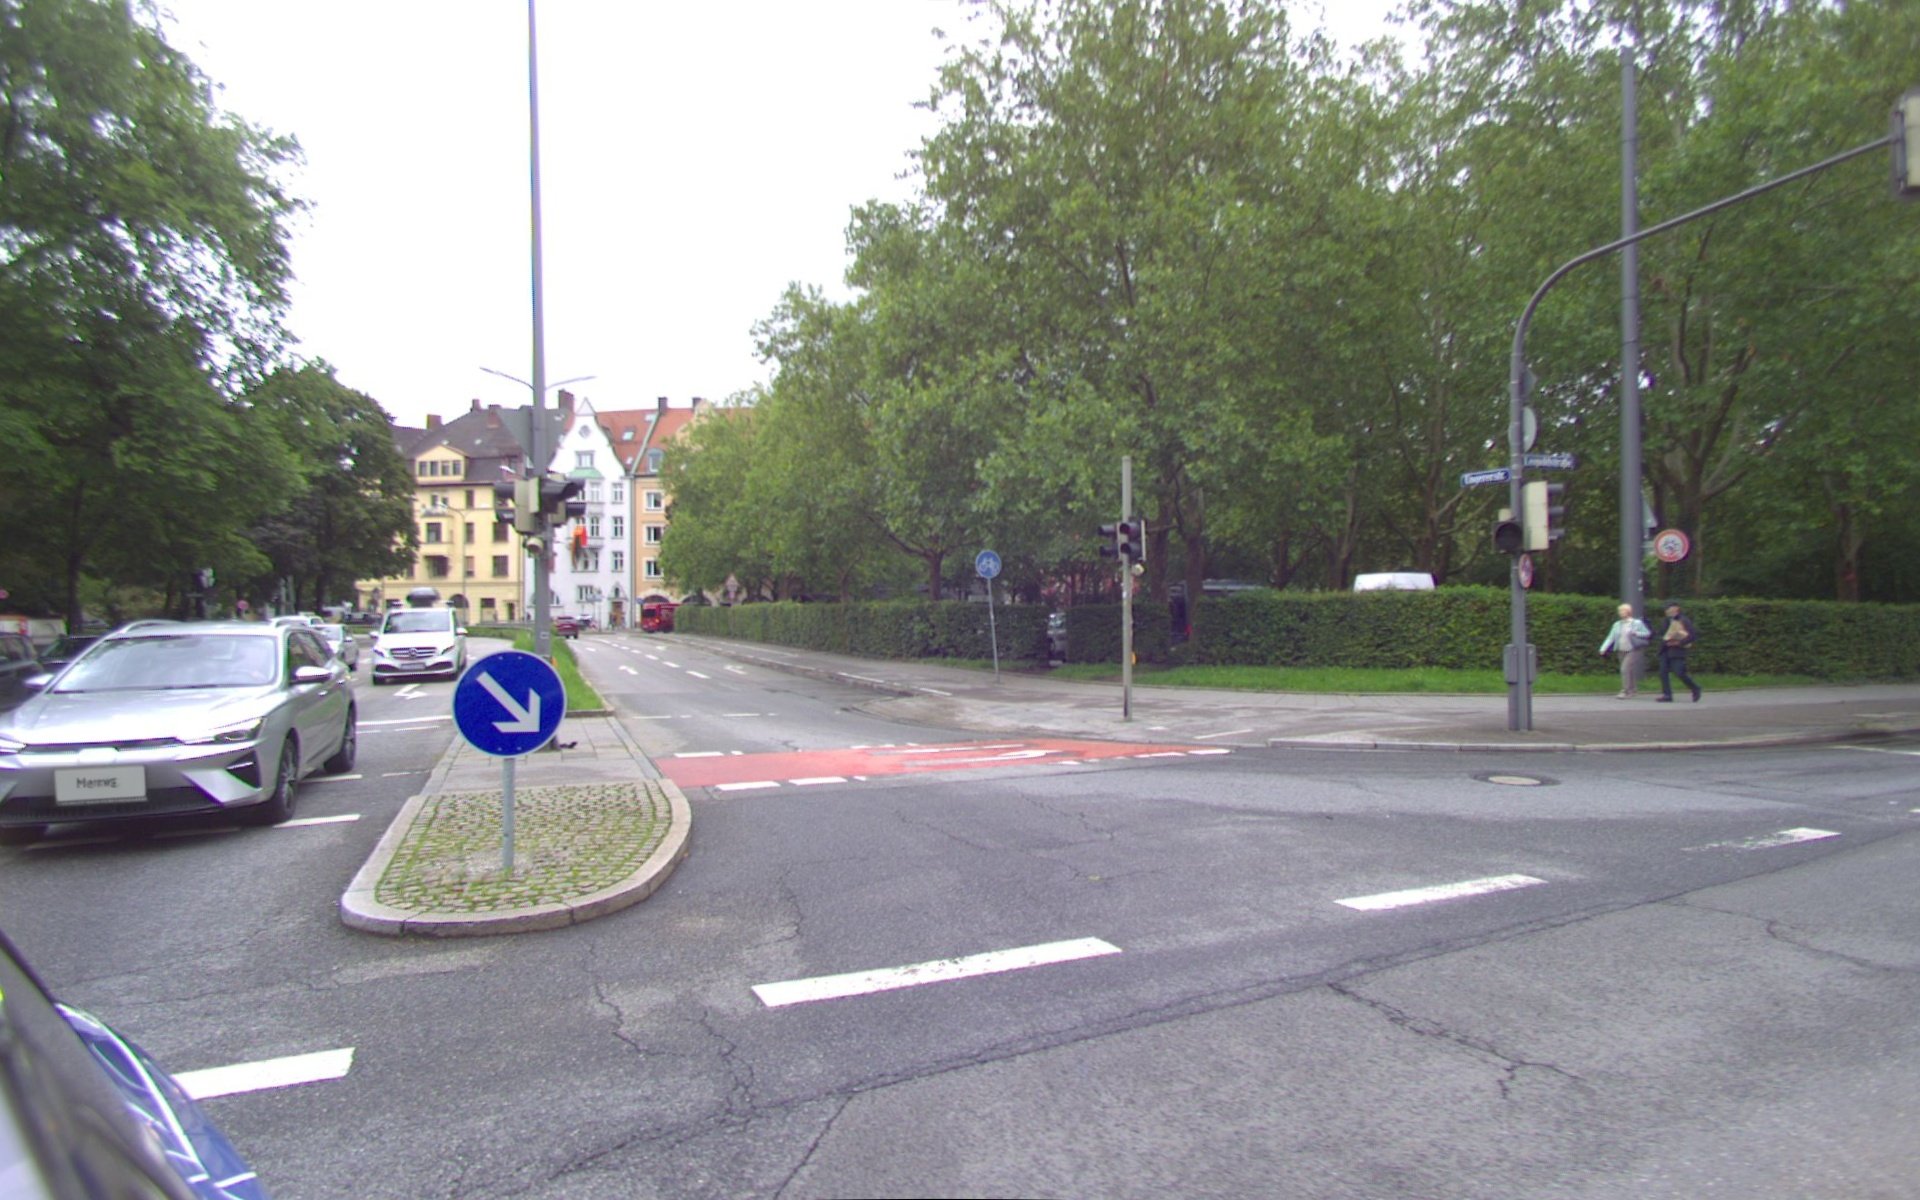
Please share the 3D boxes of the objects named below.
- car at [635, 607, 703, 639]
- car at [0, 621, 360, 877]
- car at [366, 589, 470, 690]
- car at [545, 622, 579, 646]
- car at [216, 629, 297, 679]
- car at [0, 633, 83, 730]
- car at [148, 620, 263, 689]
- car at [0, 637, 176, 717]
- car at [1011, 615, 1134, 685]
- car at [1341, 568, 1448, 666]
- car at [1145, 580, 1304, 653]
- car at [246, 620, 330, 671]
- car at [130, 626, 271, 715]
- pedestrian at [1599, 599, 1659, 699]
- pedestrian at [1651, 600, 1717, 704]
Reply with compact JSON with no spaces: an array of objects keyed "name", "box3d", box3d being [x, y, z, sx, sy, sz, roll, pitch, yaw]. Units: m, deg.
[{"name":"car","box3d":[-24.498,2.015,85.518,2.098,2.609,6.030,-1,-3,25]},{"name":"car","box3d":[-6.354,0.973,8.395,1.745,1.536,4.222,-1,0,-22]},{"name":"car","box3d":[-13.979,0.980,26.356,1.881,2.369,4.961,0,-1,-22]},{"name":"car","box3d":[-28.309,2.418,71.966,2.073,1.650,4.955,1,-3,-23]},{"name":"car","box3d":[-23.815,1.785,34.370,1.498,1.561,3.674,0,-1,-22]},{"name":"car","box3d":[-16.833,1.370,16.970,1.804,1.561,4.569,0,-1,-22]},{"name":"car","box3d":[-21.790,1.504,29.409,1.904,1.833,4.569,0,-1,-27]},{"name":"car","box3d":[-18.927,1.586,22.144,1.742,1.472,4.657,0,-1,-24]},{"name":"car","box3d":[3.310,1.403,29.379,1.778,1.776,3.472,-2,0,44]},{"name":"car","box3d":[10.732,0.542,25.318,1.984,2.029,4.599,-2,-6,18]},{"name":"car","box3d":[10.239,0.608,39.184,5.762,2.554,2.006,-2,0,-20]},{"name":"car","box3d":[-26.304,1.737,39.799,1.817,1.870,5.040,0,-1,-22]},{"name":"car","box3d":[-15.252,1.336,20.527,1.746,1.536,4.221,-1,0,-30]},{"name":"pedestrian","box3d":[11.510,0.836,17.410,0.545,1.676,0.687,1,-2,-35]},{"name":"pedestrian","box3d":[12.050,0.850,16.848,0.651,1.676,0.687,1,-2,-35]}]
